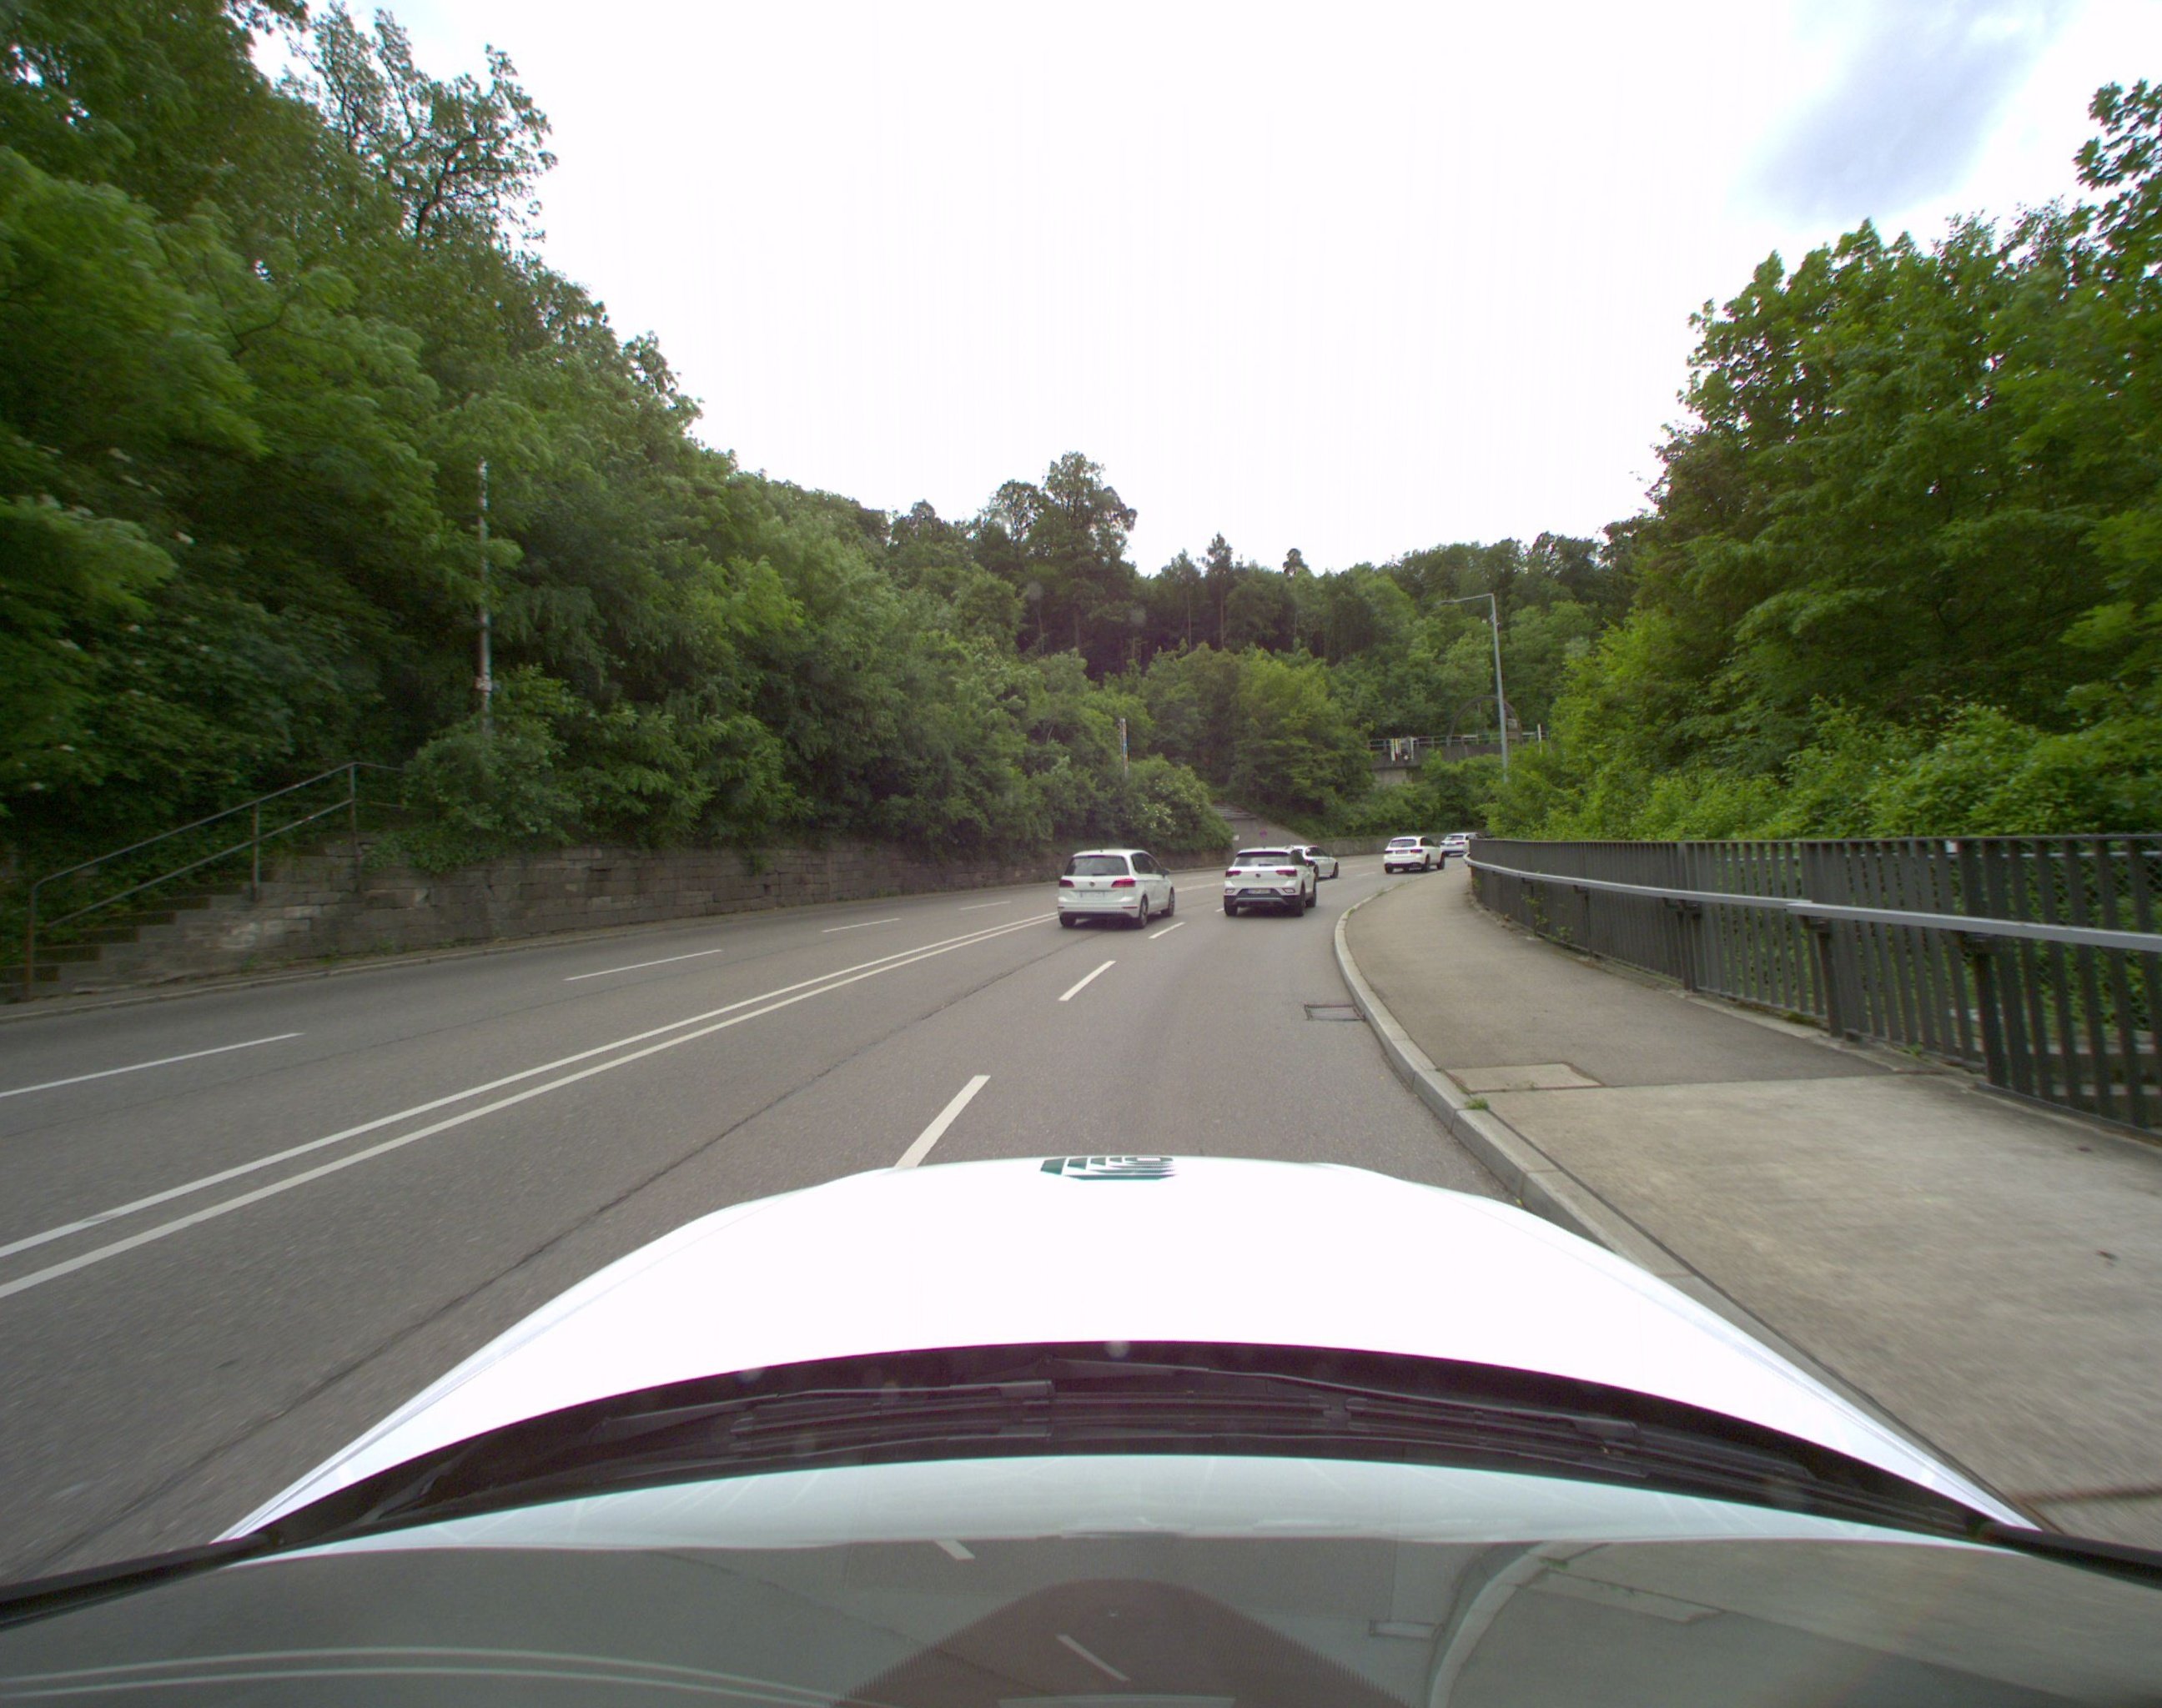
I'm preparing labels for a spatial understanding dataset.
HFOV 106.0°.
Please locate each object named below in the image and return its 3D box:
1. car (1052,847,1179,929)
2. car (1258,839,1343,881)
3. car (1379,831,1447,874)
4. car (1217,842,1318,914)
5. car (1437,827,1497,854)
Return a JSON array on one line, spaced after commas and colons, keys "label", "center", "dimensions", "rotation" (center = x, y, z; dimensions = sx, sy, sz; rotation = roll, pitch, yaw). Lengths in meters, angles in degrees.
[{"label": "car", "center": [0.887, 0.653, 17.736], "dimensions": [1.706, 1.554, 4.294], "rotation": [-1, 0, 17]}, {"label": "car", "center": [9.132, 0.212, 33.628], "dimensions": [1.974, 1.557, 4.711], "rotation": [2, 1, 33]}, {"label": "car", "center": [15.347, -0.018, 37.523], "dimensions": [1.974, 1.843, 4.176], "rotation": [0, -1, 35]}, {"label": "car", "center": [4.599, 0.545, 19.659], "dimensions": [1.798, 1.539, 4.029], "rotation": [-2, -1, 21]}, {"label": "car", "center": [24.672, -0.836, 51.955], "dimensions": [4.329, 1.519, 1.727], "rotation": [2, -1, -39]}]
